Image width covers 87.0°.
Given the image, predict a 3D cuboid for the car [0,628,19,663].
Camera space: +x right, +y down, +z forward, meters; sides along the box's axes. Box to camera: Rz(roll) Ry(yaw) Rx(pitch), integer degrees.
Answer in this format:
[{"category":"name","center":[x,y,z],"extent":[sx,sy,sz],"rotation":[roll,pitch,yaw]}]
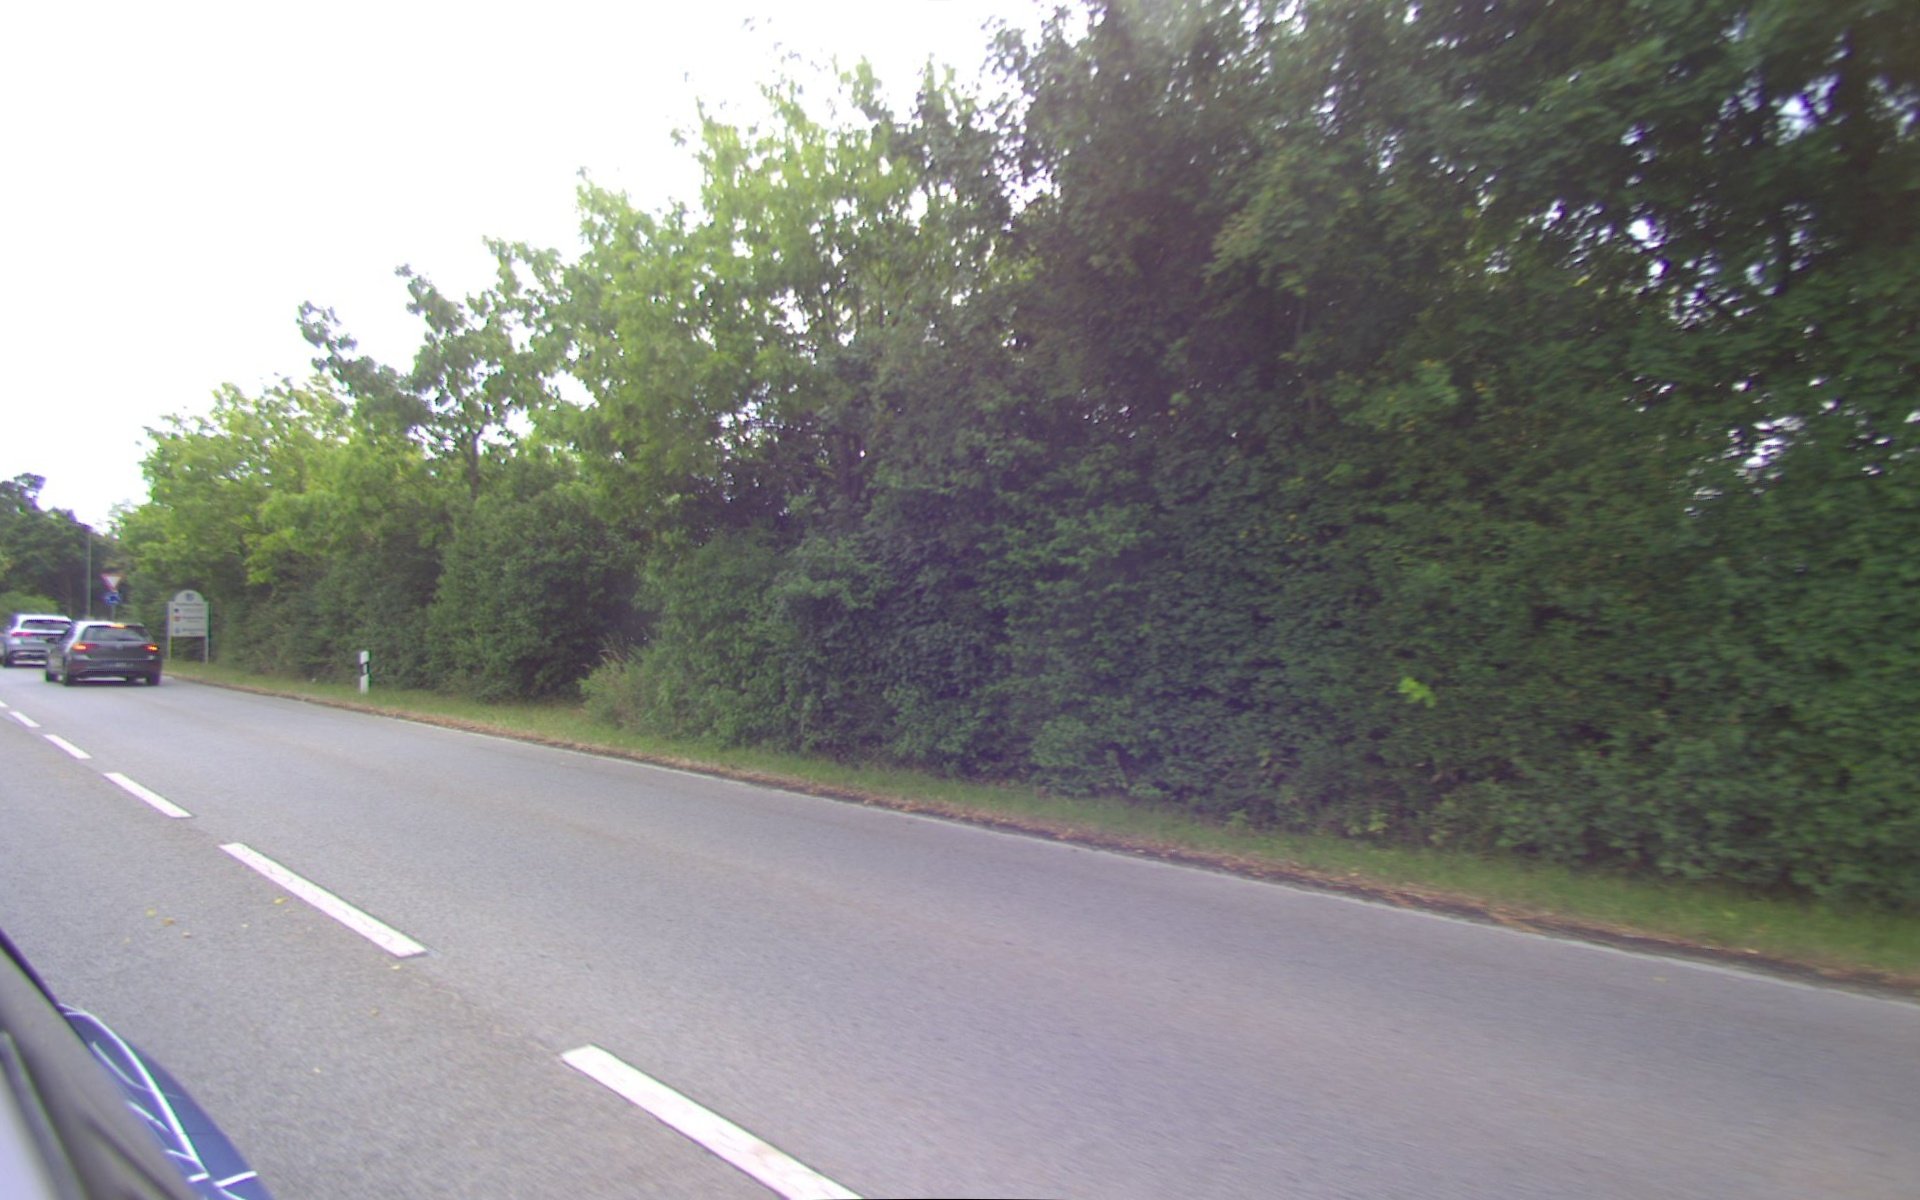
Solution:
[{"category":"car","center":[-42.936,1.993,44.341],"extent":[4.944,1.465,2.188],"rotation":[-3,-5,44]}]

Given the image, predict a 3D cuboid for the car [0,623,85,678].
[{"category":"car","center":[-29.627,1.582,32.303],"extent":[4.664,1.614,1.972],"rotation":[-1,-4,43]}]

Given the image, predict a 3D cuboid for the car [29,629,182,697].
[{"category":"car","center":[-20.341,1.446,24.021],"extent":[4.474,1.430,1.973],"rotation":[-1,-3,40]}]
